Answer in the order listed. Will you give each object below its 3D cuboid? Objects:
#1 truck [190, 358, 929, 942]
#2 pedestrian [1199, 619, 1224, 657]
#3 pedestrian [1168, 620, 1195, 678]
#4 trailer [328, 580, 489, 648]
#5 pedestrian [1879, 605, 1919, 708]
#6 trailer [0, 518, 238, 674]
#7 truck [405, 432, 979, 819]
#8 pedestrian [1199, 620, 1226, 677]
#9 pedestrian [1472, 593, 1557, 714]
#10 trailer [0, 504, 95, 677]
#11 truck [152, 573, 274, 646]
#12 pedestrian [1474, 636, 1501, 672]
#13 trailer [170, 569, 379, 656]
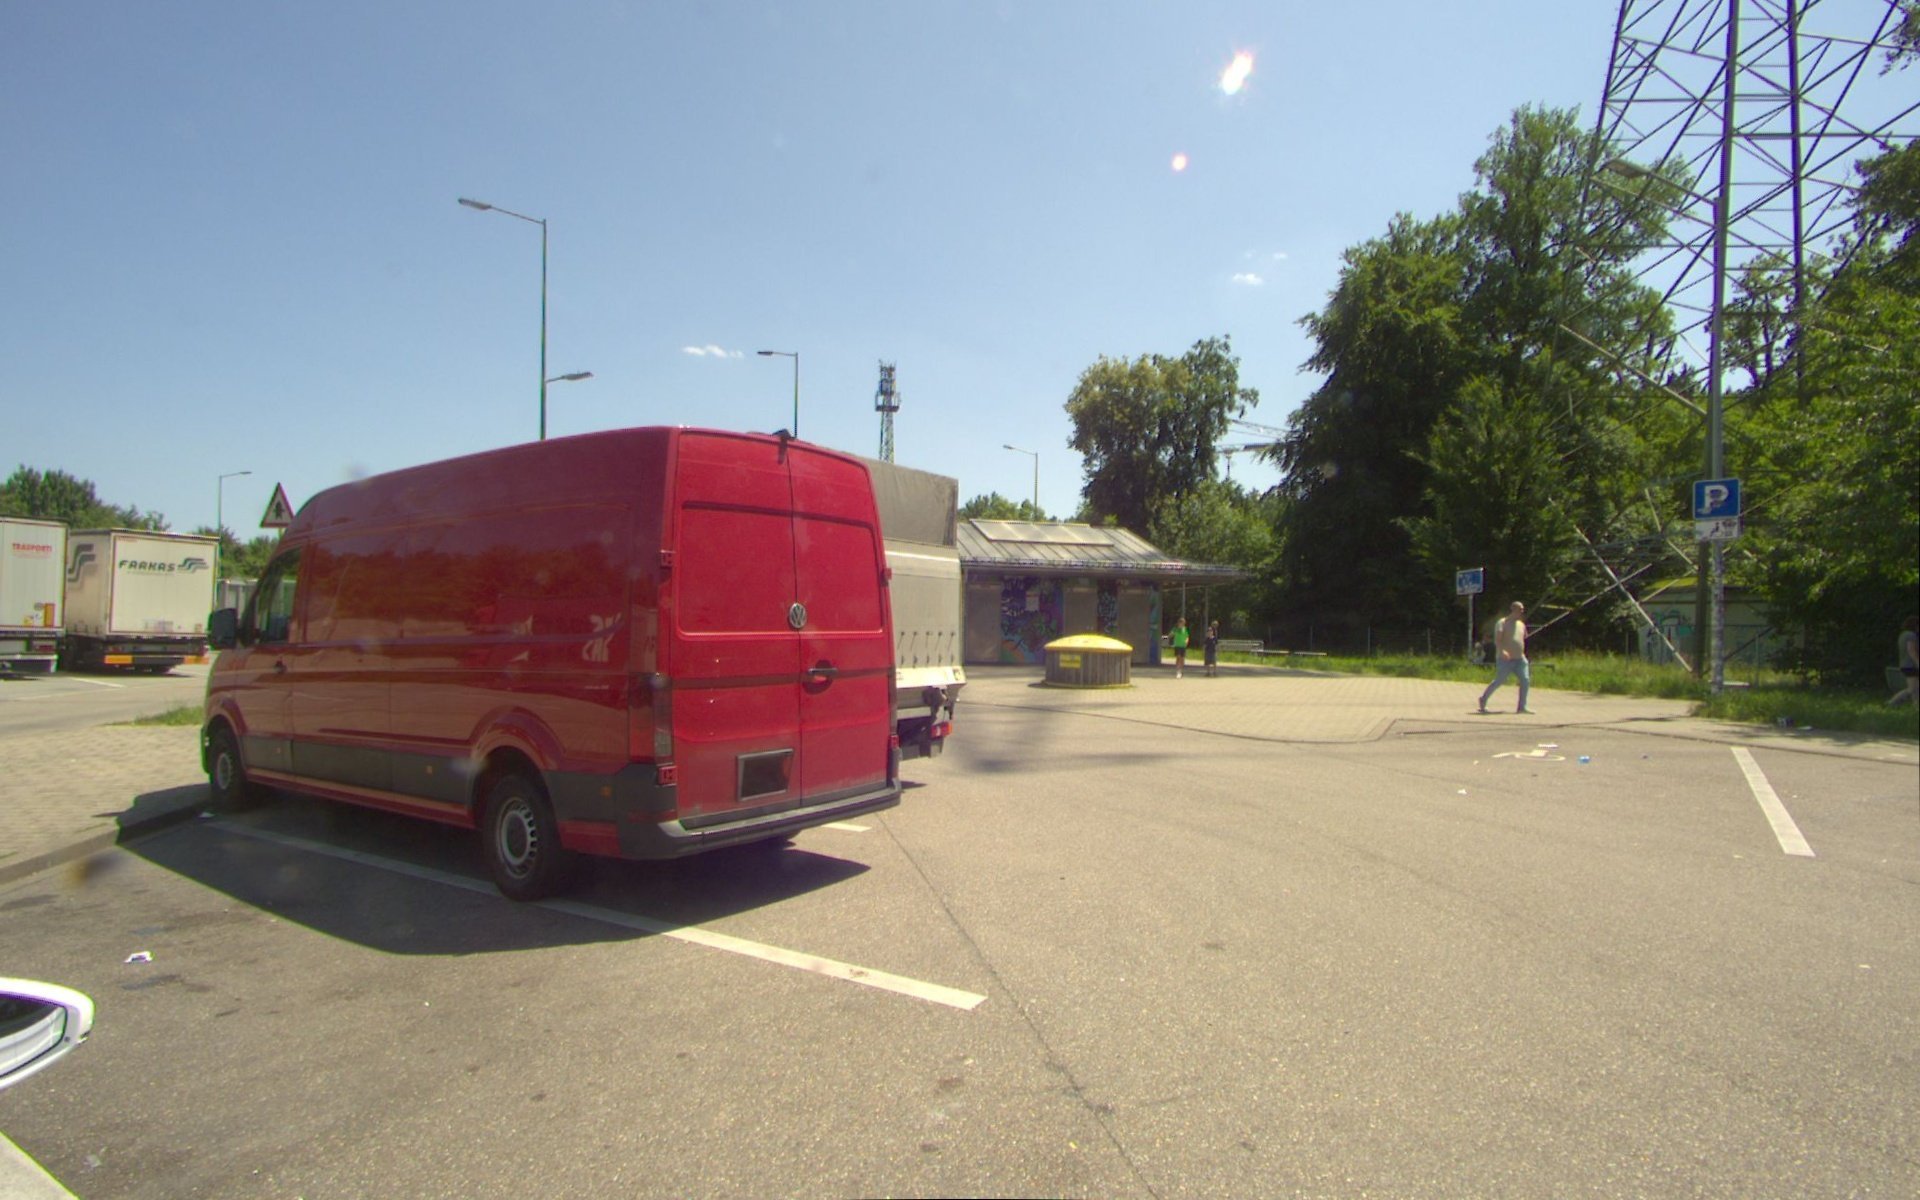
[{"bbox_3d":[-3.329,0.305,7.329,6.372,2.685,2.005,-1,-2,37],"label":"truck"},{"bbox_3d":[11.021,1.650,43.899,0.803,1.639,0.916,-1,-1,33],"label":"pedestrian"},{"bbox_3d":[5.418,1.201,24.499,0.532,1.392,0.583,0,-1,0],"label":"pedestrian"},{"bbox_3d":[-36.168,0.847,65.326,13.561,3.955,2.854,1,-2,32],"label":"trailer"},{"bbox_3d":[15.775,0.928,16.521,0.678,1.670,0.711,1,-1,-30],"label":"pedestrian"},{"bbox_3d":[-27.609,-0.166,31.598,13.561,4.162,2.854,1,-2,32],"label":"trailer"},{"bbox_3d":[-3.079,0.277,10.513,6.372,2.944,2.411,-1,-2,37],"label":"truck"},{"bbox_3d":[6.341,1.212,25.144,0.532,1.392,0.583,0,-1,0],"label":"pedestrian"},{"bbox_3d":[9.123,0.866,16.513,0.799,1.929,0.920,0,-1,-15],"label":"pedestrian"},{"bbox_3d":[-28.681,-0.339,28.011,13.561,4.162,2.854,1,-2,32],"label":"trailer"},{"bbox_3d":[-37.545,0.477,50.311,5.887,3.406,2.862,1,-2,32],"label":"truck"},{"bbox_3d":[14.649,1.497,27.811,0.439,0.987,0.460,0,-1,-19],"label":"pedestrian"},{"bbox_3d":[-32.473,0.487,47.088,13.561,3.646,2.854,1,-2,32],"label":"trailer"}]
